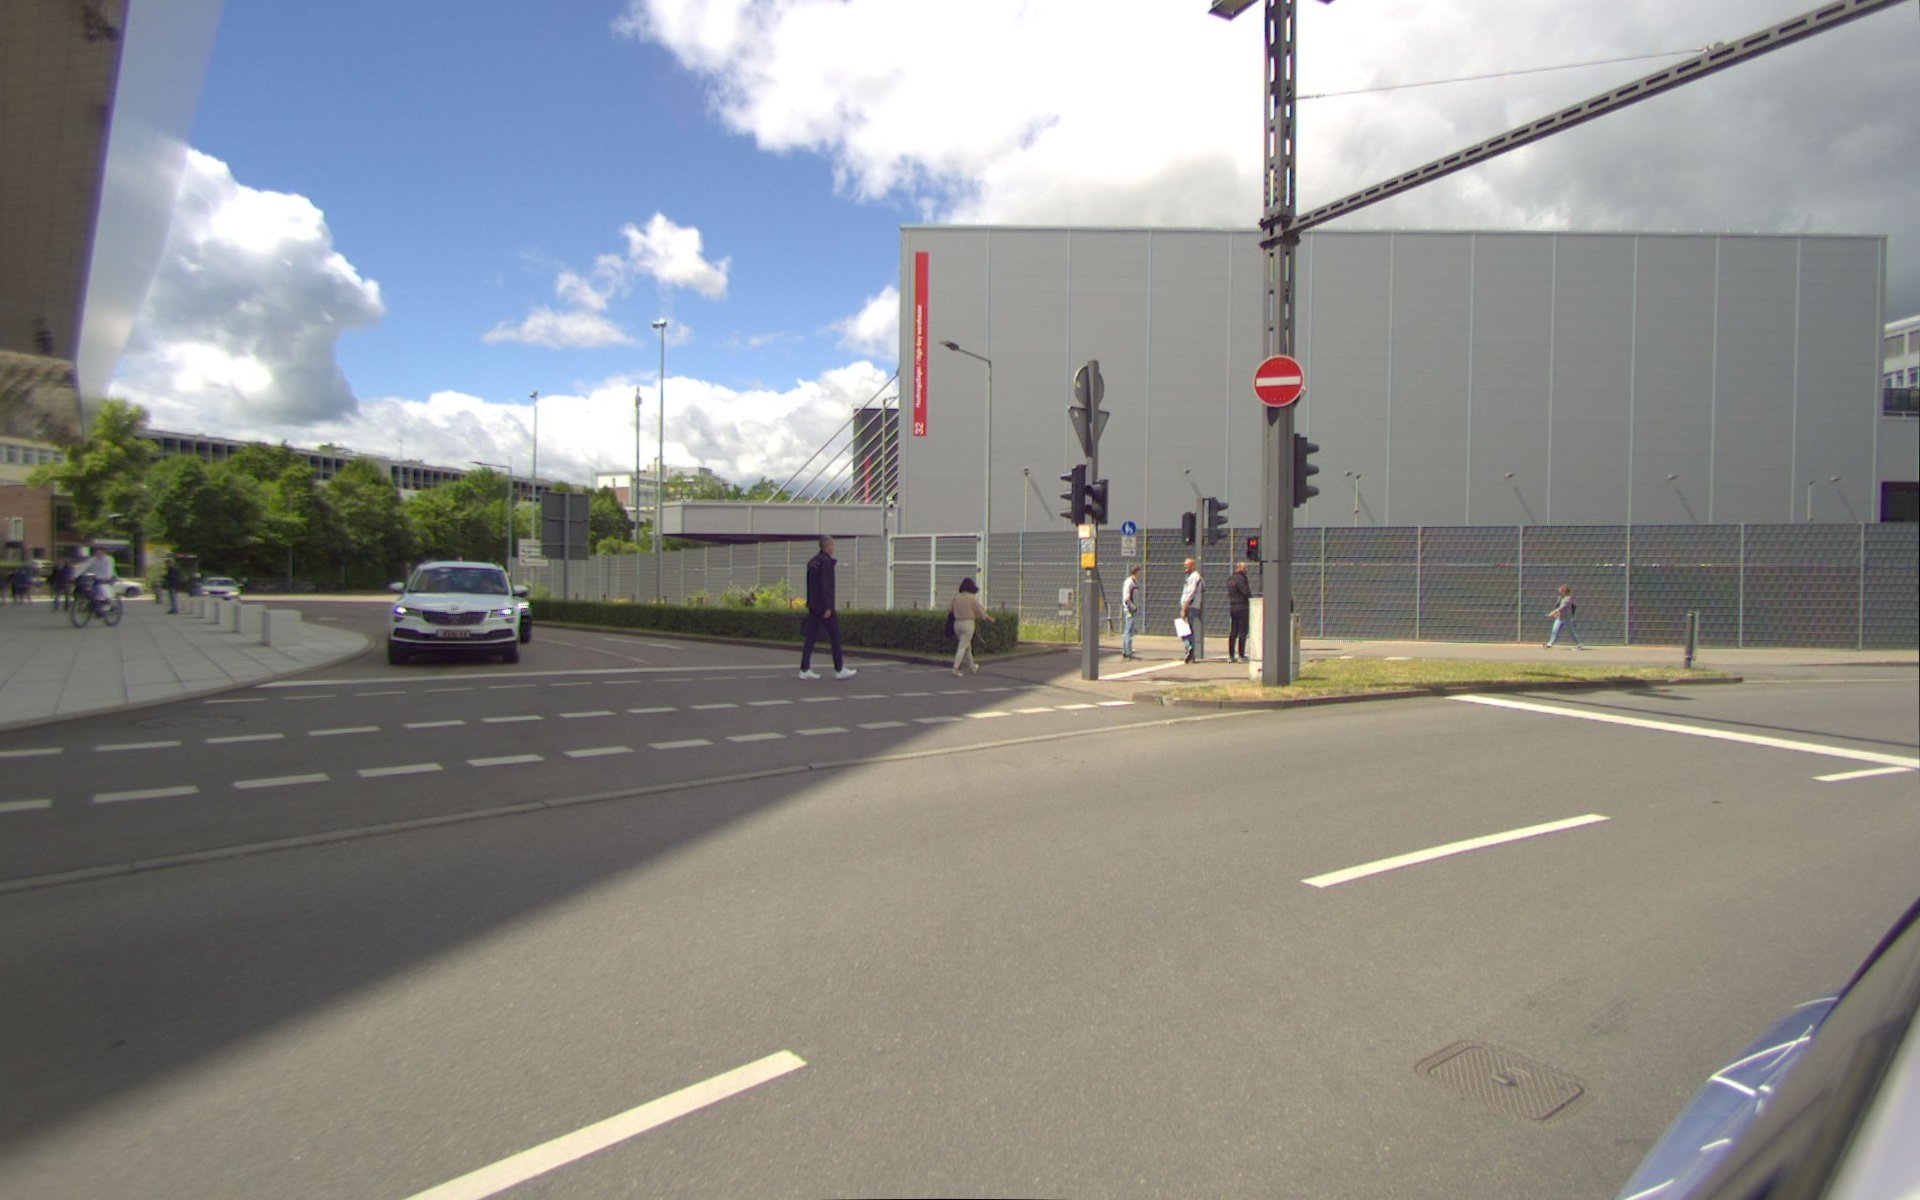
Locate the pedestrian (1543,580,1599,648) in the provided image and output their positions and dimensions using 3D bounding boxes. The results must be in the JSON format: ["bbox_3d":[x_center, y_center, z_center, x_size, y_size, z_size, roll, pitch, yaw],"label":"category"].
[{"bbox_3d":[14.815,0.337,24.544,0.904,1.606,0.695,-1,0,3],"label":"pedestrian"}]

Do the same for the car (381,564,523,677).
[{"bbox_3d":[-8.094,0.207,16.425,1.800,1.569,4.009,-1,2,-23],"label":"car"}]

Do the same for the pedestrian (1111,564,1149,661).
[{"bbox_3d":[3.196,0.238,19.038,0.611,1.781,0.604,-1,0,16],"label":"pedestrian"}]

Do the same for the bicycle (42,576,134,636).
[{"bbox_3d":[-19.653,0.131,22.865,0.764,1.290,1.930,-1,0,-13],"label":"bicycle"}]

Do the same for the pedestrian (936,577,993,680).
[{"bbox_3d":[0.078,0.423,15.502,0.577,1.515,0.764,-1,0,28],"label":"pedestrian"}]

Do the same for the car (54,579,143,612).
[{"bbox_3d":[-55.859,-0.312,65.660,1.991,2.039,4.150,-1,0,41],"label":"car"}]

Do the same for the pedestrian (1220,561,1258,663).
[{"bbox_3d":[5.076,0.215,18.400,0.612,1.817,0.669,-1,0,17],"label":"pedestrian"}]

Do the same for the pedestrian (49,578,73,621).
[{"bbox_3d":[-42.316,-0.027,47.653,0.824,2.039,0.765,-1,-1,42],"label":"pedestrian"}]

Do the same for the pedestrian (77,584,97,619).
[{"bbox_3d":[-50.625,0.080,58.704,0.824,2.039,0.765,-1,-1,42],"label":"pedestrian"}]

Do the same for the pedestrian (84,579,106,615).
[{"bbox_3d":[-50.479,-0.168,59.048,0.772,2.039,0.817,-1,0,36],"label":"pedestrian"}]

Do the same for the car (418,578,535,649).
[{"bbox_3d":[-10.702,0.276,22.237,1.802,1.401,4.160,1,-1,-33],"label":"car"}]

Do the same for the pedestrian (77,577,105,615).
[{"bbox_3d":[-46.955,-0.205,54.694,0.763,2.039,0.826,-1,0,6],"label":"pedestrian"}]

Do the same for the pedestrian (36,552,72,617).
[{"bbox_3d":[-29.245,-0.495,32.668,0.824,2.039,0.765,-1,-1,42],"label":"pedestrian"}]

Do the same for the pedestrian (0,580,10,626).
[{"bbox_3d":[-43.199,0.138,45.395,0.824,2.039,0.765,-1,-1,42],"label":"pedestrian"}]

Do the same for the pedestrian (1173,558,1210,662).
[{"bbox_3d":[4.268,0.188,18.621,0.611,1.870,0.670,-1,0,15],"label":"pedestrian"}]

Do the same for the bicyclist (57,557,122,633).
[{"bbox_3d":[-19.677,-0.118,22.903,0.756,1.674,0.938,-1,0,-13],"label":"bicyclist"}]

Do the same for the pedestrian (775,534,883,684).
[{"bbox_3d":[-1.856,0.131,14.240,1.352,2.010,0.958,2,-1,-14],"label":"pedestrian"}]

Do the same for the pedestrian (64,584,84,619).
[{"bbox_3d":[-51.795,0.099,59.149,0.824,2.039,0.765,-1,-1,42],"label":"pedestrian"}]

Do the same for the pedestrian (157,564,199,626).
[{"bbox_3d":[-26.192,-0.152,33.910,0.814,2.039,0.775,-1,0,9],"label":"pedestrian"}]

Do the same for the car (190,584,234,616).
[{"bbox_3d":[-40.979,0.020,55.397,1.853,1.663,3.997,-1,0,-38],"label":"car"}]

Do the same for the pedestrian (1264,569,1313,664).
[{"bbox_3d":[5.872,0.293,18.104,0.660,1.659,0.620,-1,0,3],"label":"pedestrian"}]
